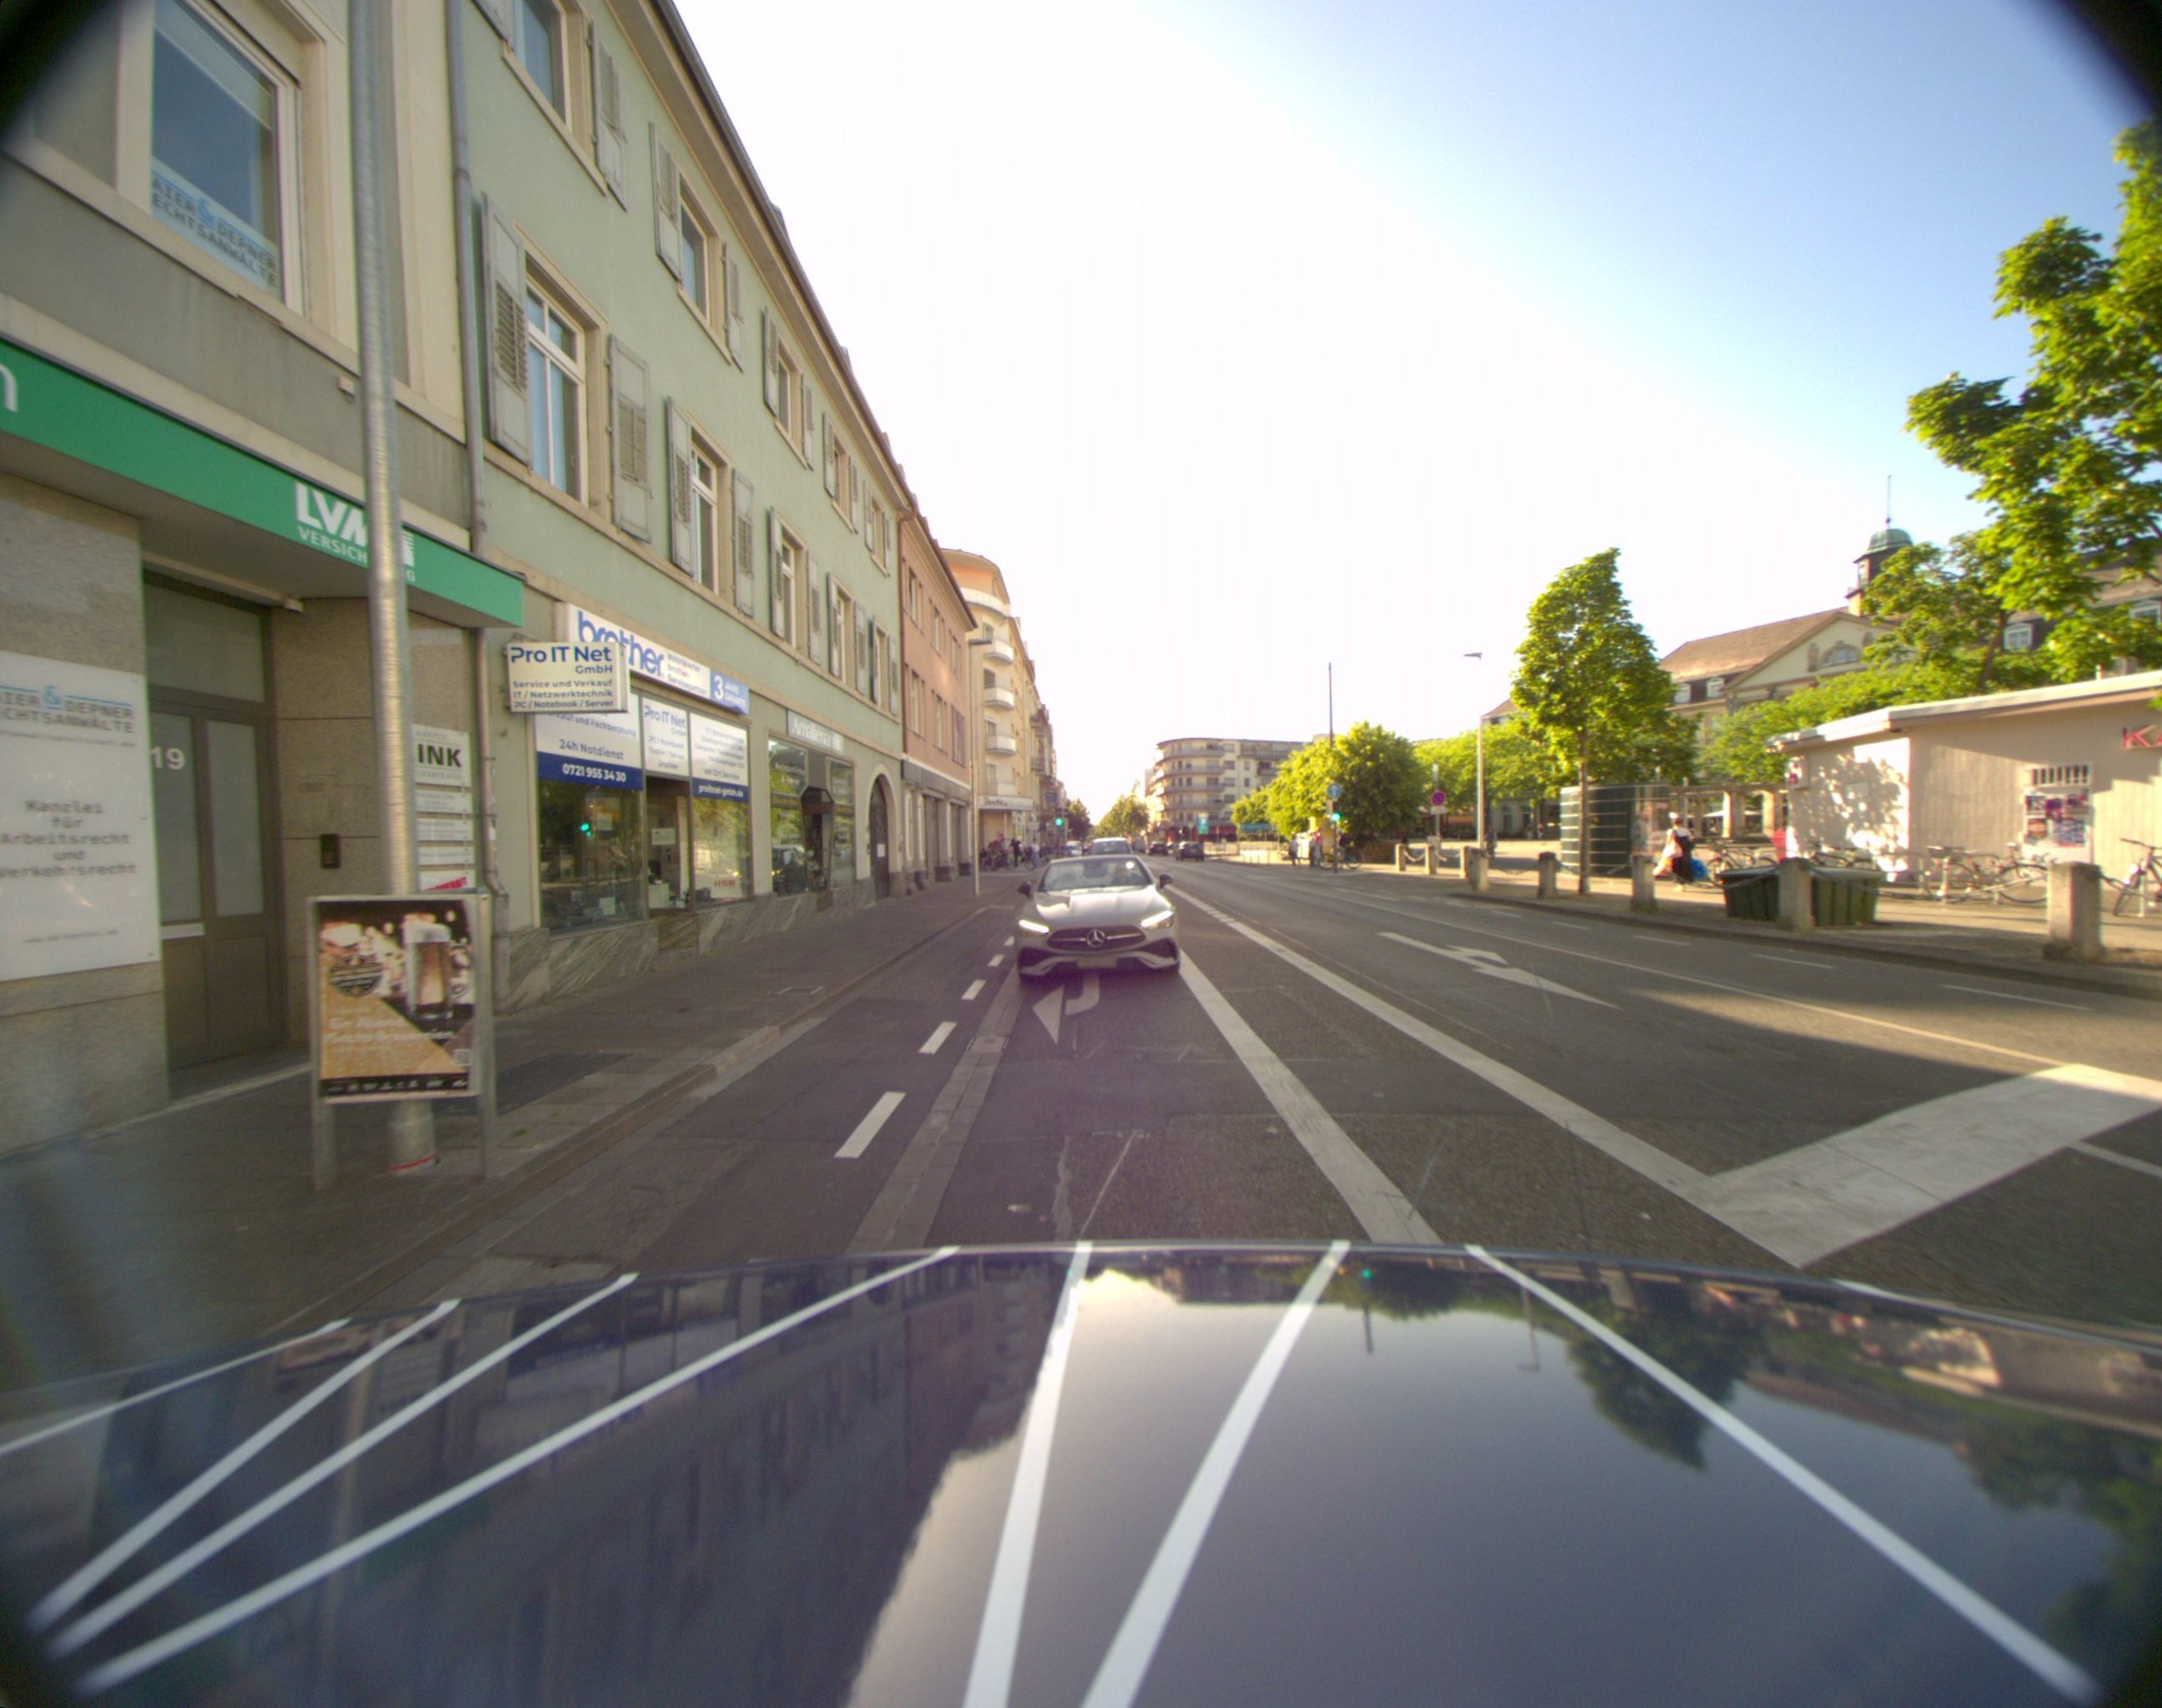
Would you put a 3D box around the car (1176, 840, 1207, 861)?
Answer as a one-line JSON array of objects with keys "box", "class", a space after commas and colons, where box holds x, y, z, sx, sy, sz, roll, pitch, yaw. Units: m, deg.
[{"box": [8.208, -0.310, 56.743, 1.654, 1.389, 4.042, 3, 1, -1], "class": "car"}]

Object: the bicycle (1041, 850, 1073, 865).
[{"box": [-1.460, 0.194, 45.753, 1.847, 0.826, 0.741, -1, 1, -5], "class": "bicycle"}]

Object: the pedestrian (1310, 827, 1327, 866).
[{"box": [11.917, -0.390, 38.102, 0.609, 1.907, 0.784, -1, 2, 3], "class": "pedestrian"}]

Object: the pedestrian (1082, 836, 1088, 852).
[{"box": [0.461, -1.165, 89.703, 0.610, 1.912, 0.714, -1, 2, 13], "class": "pedestrian"}]

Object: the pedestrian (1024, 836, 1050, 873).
[{"box": [-2.027, 0.019, 35.090, 0.813, 1.649, 0.767, -1, 2, 37], "class": "pedestrian"}]

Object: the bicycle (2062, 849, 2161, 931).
[{"box": [15.352, 0.481, 10.715, 1.993, 1.082, 0.753, -2, 1, 2], "class": "bicycle"}]

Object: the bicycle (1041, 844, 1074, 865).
[{"box": [-1.445, 0.040, 46.115, 1.946, 1.205, 0.932, -1, 1, -5], "class": "bicycle"}]

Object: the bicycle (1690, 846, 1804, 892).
[{"box": [15.524, 0.352, 17.765, 1.888, 0.997, 0.765, -2, 1, 9], "class": "bicycle"}]

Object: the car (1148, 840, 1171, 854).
[{"box": [8.266, -0.772, 80.007, 1.753, 1.415, 4.253, -3, 1, -2], "class": "car"}]

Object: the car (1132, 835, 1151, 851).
[{"box": [8.005, -1.468, 100.763, 1.999, 1.936, 4.782, 1, 1, 0], "class": "car"}]

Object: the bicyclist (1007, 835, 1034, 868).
[{"box": [-3.098, -0.121, 39.003, 1.129, 1.675, 0.727, -1, 2, 28], "class": "bicyclist"}]

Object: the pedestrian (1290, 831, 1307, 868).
[{"box": [10.911, -0.216, 38.050, 0.650, 1.847, 0.626, 0, 2, 32], "class": "pedestrian"}]

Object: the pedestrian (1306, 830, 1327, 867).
[{"box": [11.550, -0.256, 37.236, 0.590, 1.801, 0.781, -3, 2, -43], "class": "pedestrian"}]

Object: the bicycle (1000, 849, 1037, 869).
[{"box": [-3.230, 0.255, 39.164, 1.910, 1.014, 0.561, -1, 2, 28], "class": "bicycle"}]

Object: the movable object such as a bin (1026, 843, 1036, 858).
[{"box": [-4.016, -0.302, 61.459, 0.703, 1.154, 0.960, -1, 1, 1], "class": "movable object such as a bin"}]

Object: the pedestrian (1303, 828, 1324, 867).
[{"box": [11.166, -0.315, 36.493, 0.590, 1.801, 0.782, -2, 2, -25], "class": "pedestrian"}]

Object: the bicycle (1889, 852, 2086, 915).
[{"box": [15.426, 0.495, 13.010, 2.015, 0.997, 0.889, -1, 2, 15], "class": "bicycle"}]

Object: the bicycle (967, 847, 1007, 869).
[{"box": [-4.898, 0.209, 39.432, 1.915, 1.090, 0.734, -1, 2, 22], "class": "bicycle"}]

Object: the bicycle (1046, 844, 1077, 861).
[{"box": [-1.265, -0.107, 49.876, 2.026, 1.143, 0.715, 0, 1, 1], "class": "bicycle"}]

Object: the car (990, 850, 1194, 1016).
[{"box": [0.200, 0.768, 9.567, 1.910, 1.454, 4.363, -3, 1, 3], "class": "car"}]

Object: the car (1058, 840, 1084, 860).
[{"box": [-0.752, -0.336, 57.353, 1.693, 1.390, 4.000, -1, 1, 2], "class": "car"}]

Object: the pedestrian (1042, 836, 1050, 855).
[{"box": [-3.430, -0.818, 75.126, 0.694, 1.896, 0.906, -2, 2, -2], "class": "pedestrian"}]

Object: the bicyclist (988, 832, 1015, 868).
[{"box": [-4.007, -0.213, 38.297, 1.142, 1.751, 0.752, -2, 2, -21], "class": "bicyclist"}]

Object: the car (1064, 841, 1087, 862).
[{"box": [-0.525, -0.268, 67.592, 1.999, 1.725, 4.197, -1, 1, -1], "class": "car"}]

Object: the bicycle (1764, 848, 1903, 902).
[{"box": [15.002, 0.421, 15.202, 1.888, 0.997, 0.765, -2, 1, 9], "class": "bicycle"}]

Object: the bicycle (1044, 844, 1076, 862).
[{"box": [-1.394, -0.085, 50.948, 2.049, 1.174, 0.683, -1, 1, 1], "class": "bicycle"}]

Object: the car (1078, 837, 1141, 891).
[{"box": [0.973, 0.288, 26.720, 1.998, 1.718, 3.999, -1, 1, 1], "class": "car"}]

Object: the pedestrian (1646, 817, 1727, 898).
[{"box": [13.282, 0.069, 16.704, 0.902, 1.688, 1.086, -2, 1, 2], "class": "pedestrian"}]

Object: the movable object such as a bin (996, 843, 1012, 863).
[{"box": [-4.452, -0.043, 44.062, 0.810, 1.106, 0.620, -2, 2, -1], "class": "movable object such as a bin"}]

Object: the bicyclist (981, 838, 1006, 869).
[{"box": [-4.523, -0.029, 39.308, 1.028, 1.574, 0.727, -1, 2, 23], "class": "bicyclist"}]

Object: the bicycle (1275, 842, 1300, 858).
[{"box": [13.775, -0.245, 50.686, 1.529, 1.025, 0.364, -1, 2, 15], "class": "bicycle"}]

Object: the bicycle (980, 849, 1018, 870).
[{"box": [-4.117, 0.250, 38.254, 1.823, 0.988, 0.563, -2, 2, -21], "class": "bicycle"}]

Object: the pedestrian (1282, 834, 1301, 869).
[{"box": [10.383, -0.126, 37.459, 0.686, 1.664, 0.698, 0, 2, 32], "class": "pedestrian"}]

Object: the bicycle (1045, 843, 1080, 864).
[{"box": [-1.151, -0.054, 47.297, 2.142, 1.237, 0.710, -1, 1, -4], "class": "bicycle"}]

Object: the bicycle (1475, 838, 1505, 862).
[{"box": [20.480, -0.212, 38.117, 0.941, 1.126, 2.482, -1, 1, 19], "class": "bicycle"}]

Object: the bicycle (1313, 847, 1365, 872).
[{"box": [11.735, 0.230, 34.556, 2.171, 1.066, 0.765, -1, 1, 22], "class": "bicycle"}]

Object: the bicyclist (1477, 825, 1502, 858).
[{"box": [20.448, -0.618, 38.074, 0.941, 1.599, 1.171, -1, 2, 19], "class": "bicyclist"}]

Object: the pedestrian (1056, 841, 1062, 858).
[{"box": [-2.602, -0.533, 90.504, 0.694, 1.896, 0.906, -2, 2, -2], "class": "pedestrian"}]

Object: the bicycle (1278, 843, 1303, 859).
[{"box": [13.579, -0.211, 49.268, 1.549, 1.025, 0.364, -1, 2, 0], "class": "bicycle"}]

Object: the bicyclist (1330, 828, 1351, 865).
[{"box": [11.791, -0.367, 34.539, 0.803, 1.639, 0.995, -1, 2, 23], "class": "bicyclist"}]

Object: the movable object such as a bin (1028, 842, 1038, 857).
[{"box": [-4.010, -0.372, 63.225, 0.703, 1.232, 0.960, -1, 1, 1], "class": "movable object such as a bin"}]
